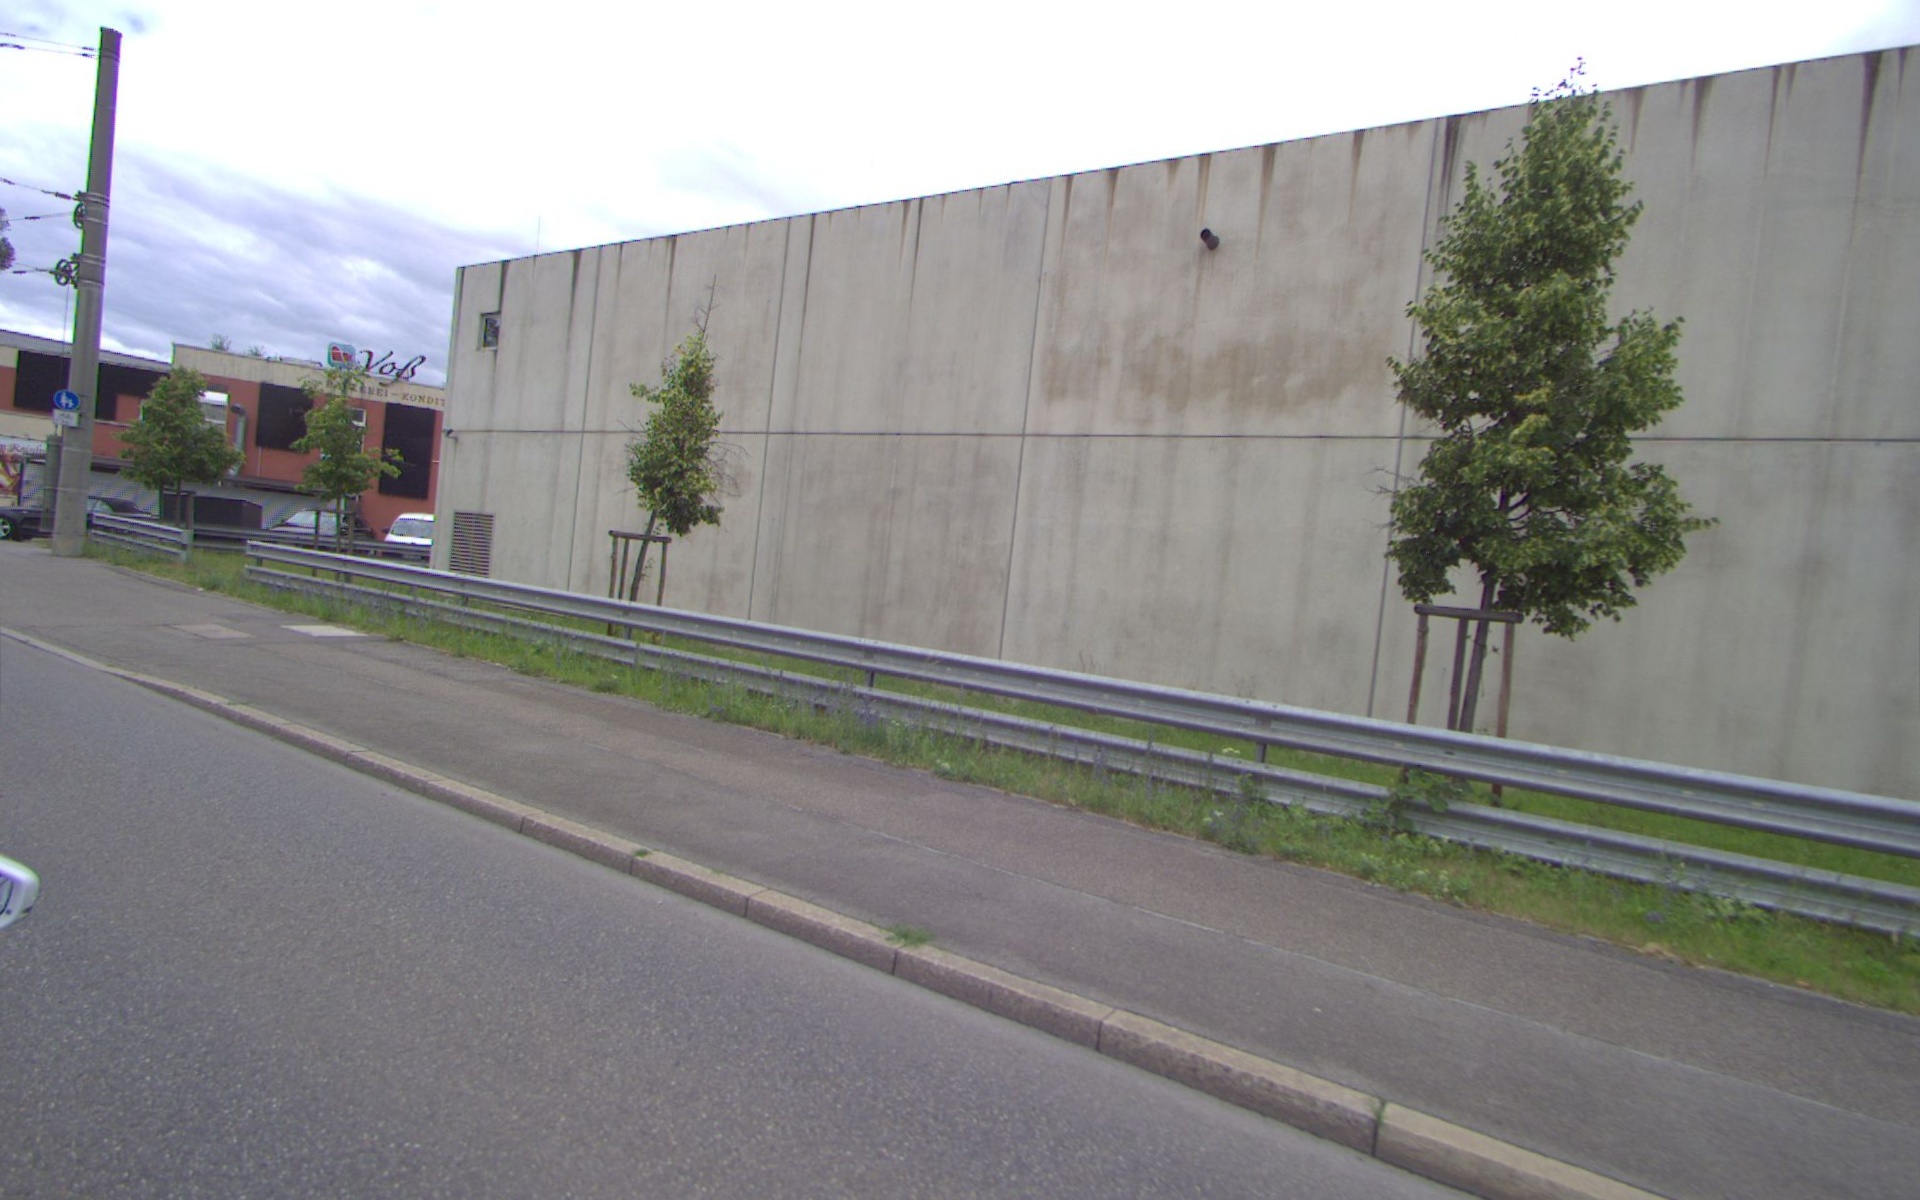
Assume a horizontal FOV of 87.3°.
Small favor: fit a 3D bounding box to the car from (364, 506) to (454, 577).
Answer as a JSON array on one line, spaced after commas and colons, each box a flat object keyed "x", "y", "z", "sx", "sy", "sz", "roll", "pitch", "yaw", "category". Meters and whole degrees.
[{"x": -17.157, "y": -1.819, "z": 31.519, "sx": 1.836, "sy": 1.855, "sz": 4.516, "roll": 6, "pitch": 1, "yaw": -23, "category": "car"}]

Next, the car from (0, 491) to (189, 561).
[{"x": -24.358, "y": -2.054, "z": 28.064, "sx": 4.181, "sy": 1.461, "sz": 1.751, "roll": 6, "pitch": 1, "yaw": -27, "category": "car"}]

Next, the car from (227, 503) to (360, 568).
[{"x": -20.208, "y": -1.921, "z": 30.749, "sx": 2.129, "sy": 1.567, "sz": 4.501, "roll": 7, "pitch": 0, "yaw": -18, "category": "car"}]
